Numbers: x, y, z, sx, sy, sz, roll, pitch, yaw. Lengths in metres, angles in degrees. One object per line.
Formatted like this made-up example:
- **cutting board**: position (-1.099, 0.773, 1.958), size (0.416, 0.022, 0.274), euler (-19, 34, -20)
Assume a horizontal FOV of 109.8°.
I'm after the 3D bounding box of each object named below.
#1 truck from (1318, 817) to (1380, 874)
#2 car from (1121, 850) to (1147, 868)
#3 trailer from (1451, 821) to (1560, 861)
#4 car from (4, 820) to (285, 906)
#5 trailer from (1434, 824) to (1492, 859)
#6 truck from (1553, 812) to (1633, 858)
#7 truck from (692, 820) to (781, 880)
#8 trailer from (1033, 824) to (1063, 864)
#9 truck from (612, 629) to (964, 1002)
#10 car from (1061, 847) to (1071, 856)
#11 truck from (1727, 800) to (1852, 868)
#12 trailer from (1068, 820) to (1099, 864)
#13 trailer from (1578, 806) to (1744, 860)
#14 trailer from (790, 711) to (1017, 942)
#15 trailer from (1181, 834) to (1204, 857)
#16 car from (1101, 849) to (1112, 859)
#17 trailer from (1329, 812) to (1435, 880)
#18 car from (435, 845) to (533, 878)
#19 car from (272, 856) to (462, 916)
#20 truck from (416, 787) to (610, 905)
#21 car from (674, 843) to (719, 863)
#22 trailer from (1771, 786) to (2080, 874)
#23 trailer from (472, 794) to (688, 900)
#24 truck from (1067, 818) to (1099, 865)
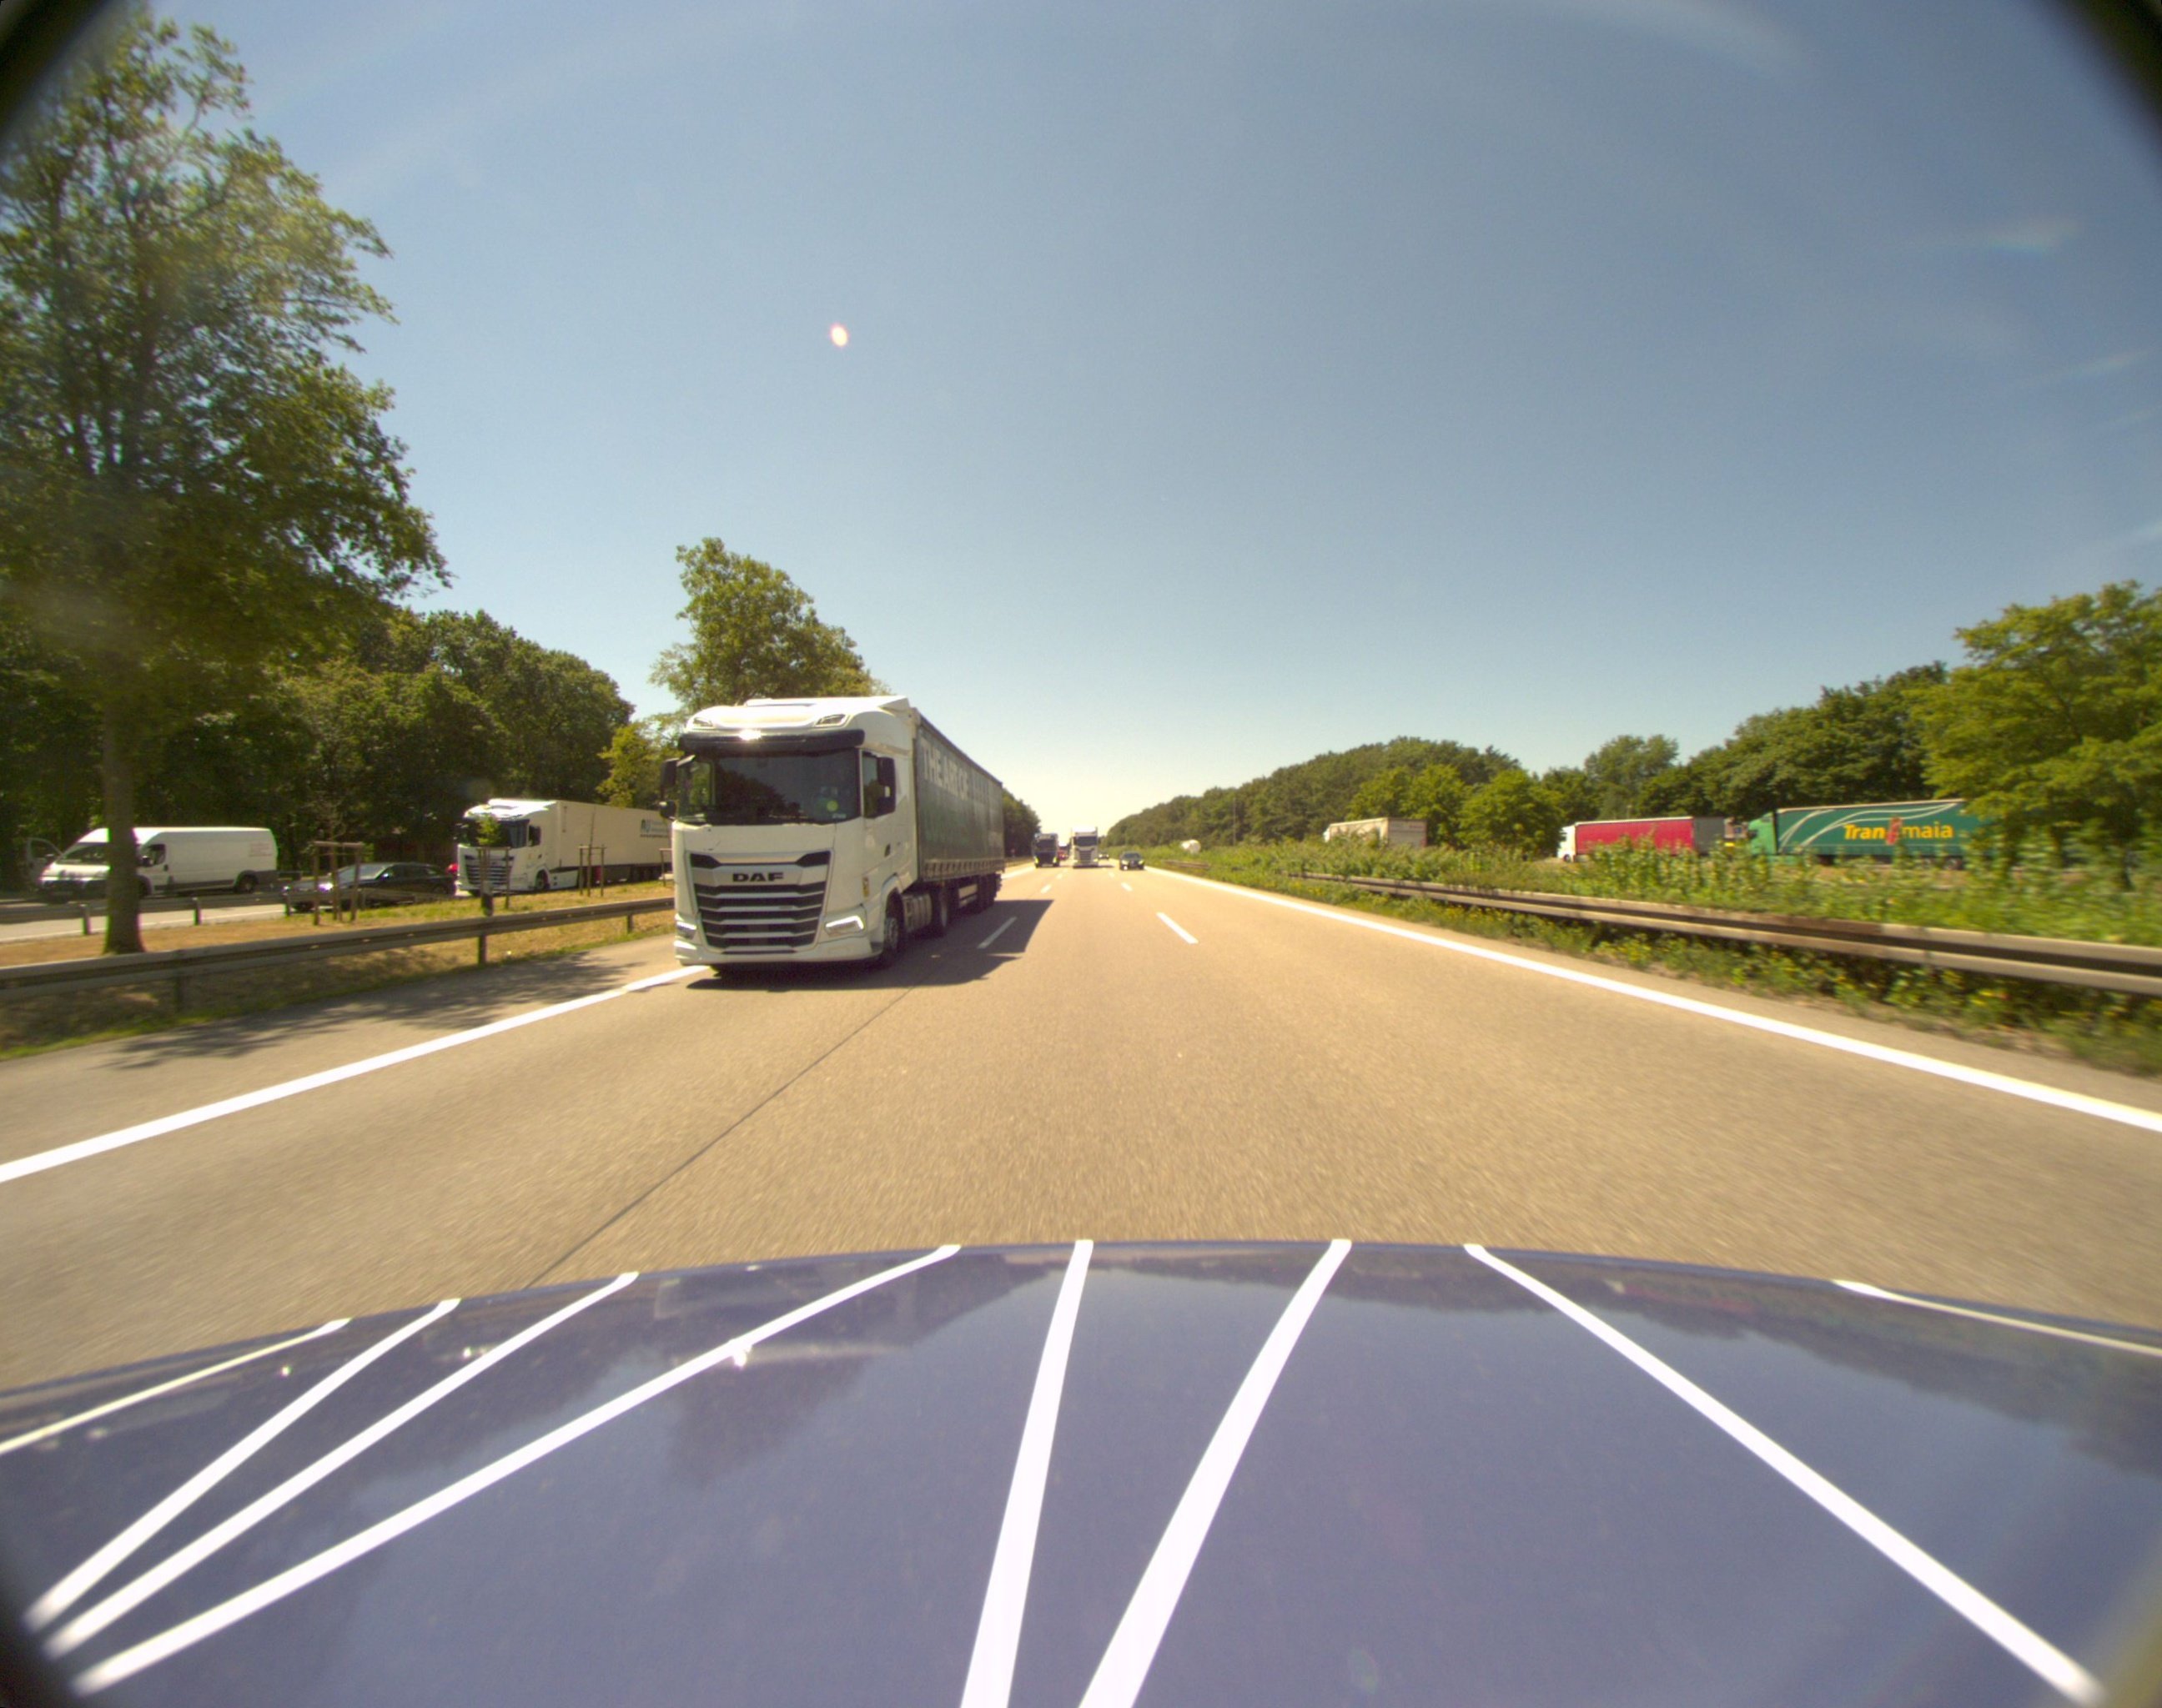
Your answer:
- **truck**: position (21.147, -0.663, 60.263), size (2.910, 4.248, 5.491), euler (-2, 1, 0)
- **car**: position (4.253, 0.387, 61.682), size (1.811, 1.399, 3.999), euler (-2, 1, 1)
- **trailer**: position (48.453, -1.478, 87.527), size (3.612, 4.239, 14.014), euler (0, 1, -6)
- **car**: position (-31.739, 0.244, 26.272), size (2.315, 2.568, 6.642), euler (1, 1, -10)
- **trailer**: position (47.711, -1.539, 95.139), size (3.612, 4.239, 6.590), euler (0, 1, -6)
- **truck**: position (49.761, -1.795, 74.059), size (3.611, 4.239, 5.935), euler (0, 1, -2)
- **truck**: position (-27.268, -0.315, 60.708), size (3.392, 4.437, 8.231), euler (-1, 1, -1)
- **trailer**: position (-3.624, -1.128, 86.196), size (2.863, 4.247, 11.470), euler (-1, 1, 0)
- **truck**: position (-3.941, -0.483, 12.303), size (2.863, 4.247, 6.862), euler (-2, 1, 0)
- **car**: position (-2.724, -0.447, 138.068), size (1.811, 1.612, 4.000), euler (0, 1, 1)
- **truck**: position (50.539, -1.367, 54.479), size (3.609, 4.565, 5.758), euler (0, 1, 2)
- **trailer**: position (0.280, -1.285, 80.746), size (2.863, 4.247, 11.470), euler (-2, 1, 1)
- **trailer**: position (49.925, -1.705, 66.387), size (3.610, 4.239, 14.020), euler (0, 1, -1)
- **trailer**: position (-3.973, -0.595, 21.807), size (2.863, 4.247, 14.977), euler (-2, 1, 0)
- **trailer**: position (20.987, -1.566, 143.724), size (2.889, 4.239, 10.838), euler (0, 1, 0)
- **car**: position (4.532, -0.011, 135.600), size (1.806, 1.774, 3.999), euler (-1, 1, 1)
- **trailer**: position (21.158, -0.594, 54.456), size (2.910, 4.247, 11.487), euler (-2, 1, 0)
- **car**: position (-33.569, 0.391, 42.954), size (2.147, 1.743, 4.865), euler (1, 1, -7)
- **car**: position (-23.169, 0.952, 24.988), size (1.999, 1.700, 4.677), euler (1, 1, -3)
- **truck**: position (-24.239, -0.333, 33.083), size (3.394, 4.438, 7.383), euler (-2, 1, -8)
- **car**: position (-35.725, -0.120, 70.704), size (2.147, 1.686, 4.865), euler (1, 1, -7)
- **trailer**: position (50.301, -1.299, 46.533), size (3.609, 4.565, 14.023), euler (0, 1, 2)
- **trailer**: position (-25.164, -0.377, 39.778), size (3.394, 4.437, 14.348), euler (-2, 1, -8)
- **truck**: position (0.210, -1.204, 74.216), size (2.863, 4.248, 5.410), euler (-2, 1, 1)
